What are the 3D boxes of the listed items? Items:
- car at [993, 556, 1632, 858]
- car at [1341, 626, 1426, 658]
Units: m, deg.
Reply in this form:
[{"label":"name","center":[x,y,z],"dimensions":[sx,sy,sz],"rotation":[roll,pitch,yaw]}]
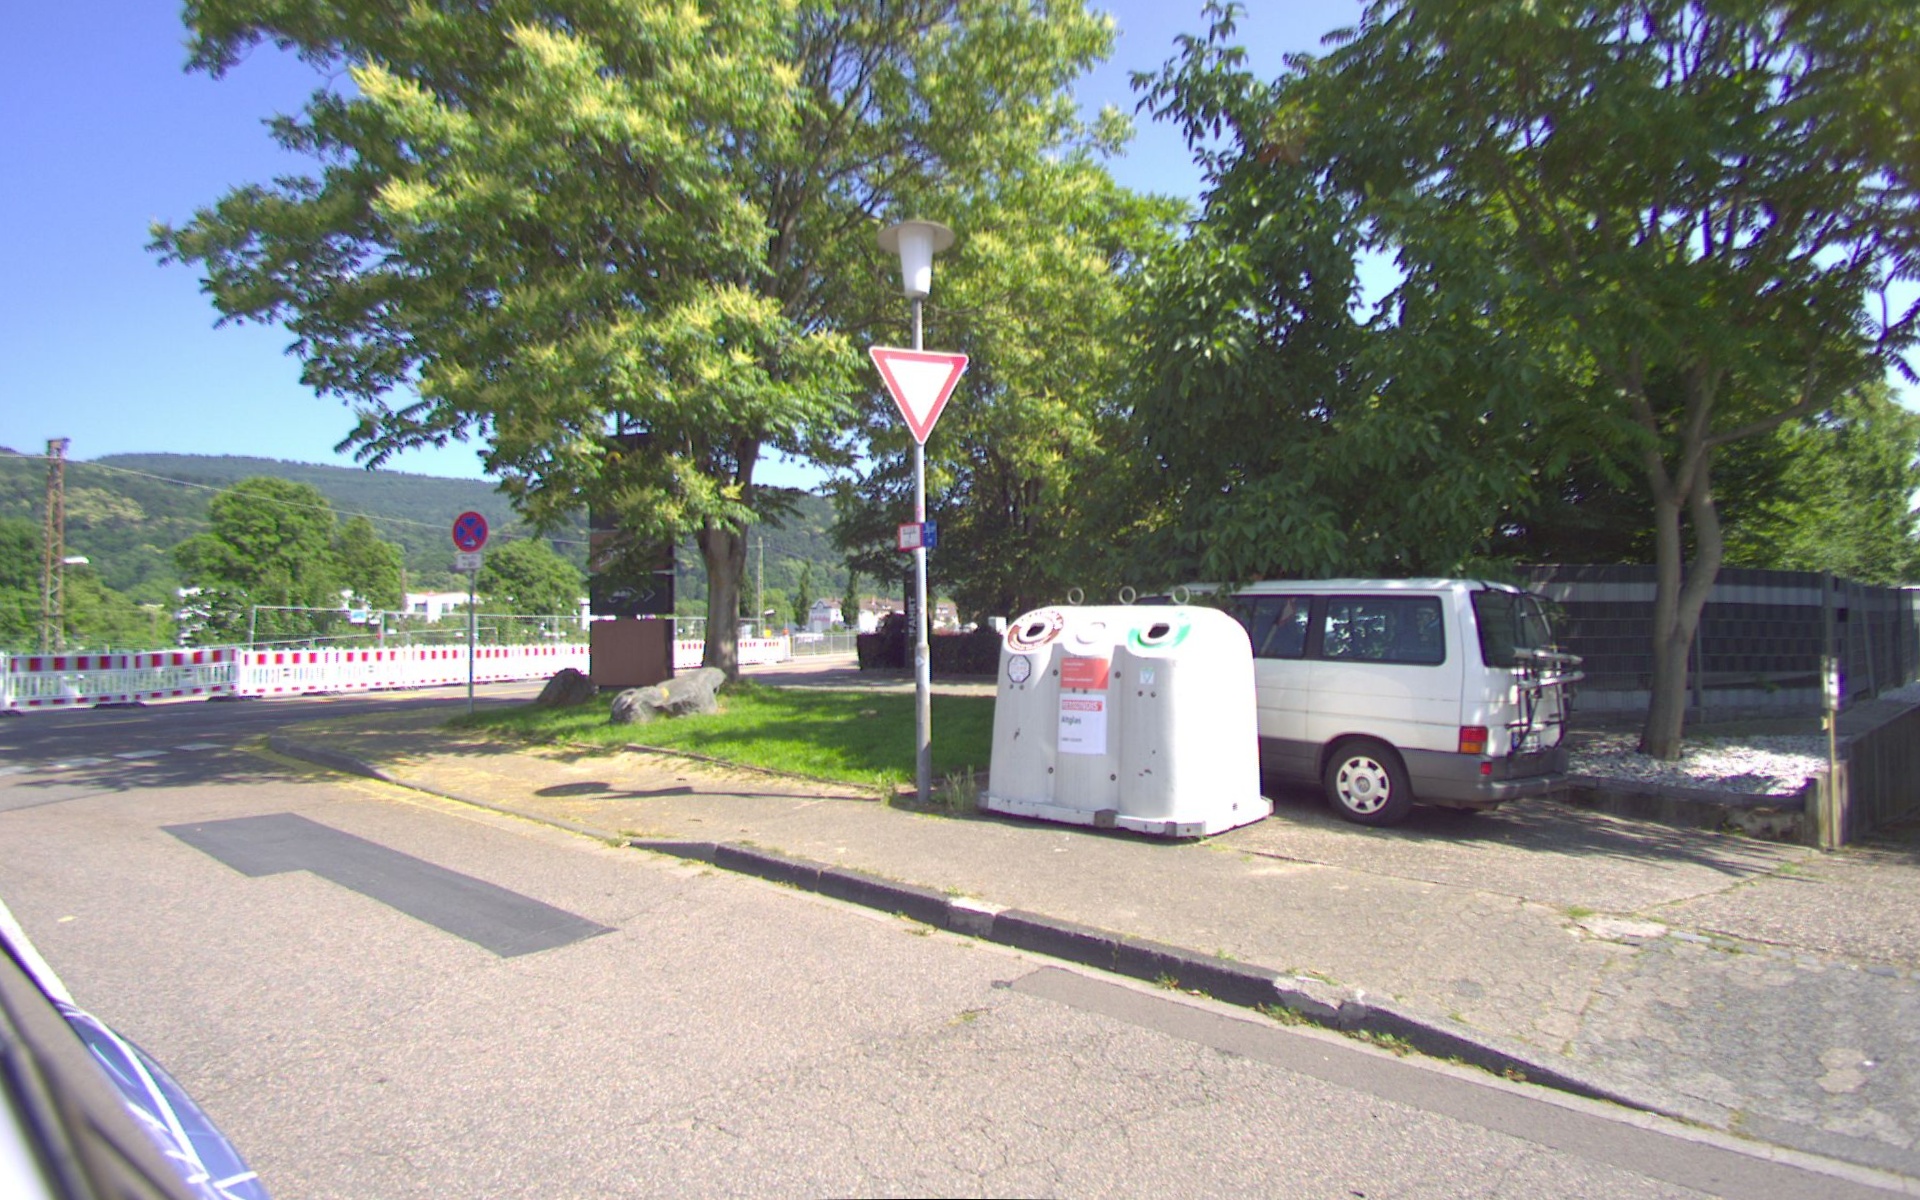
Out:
[{"label":"car","center":[2.792,0.748,9.127],"dimensions":[1.969,1.946,5.108],"rotation":[4,-3,-41]},{"label":"car","center":[20.847,2.062,49.964],"dimensions":[3.477,1.568,1.695],"rotation":[0,-2,6]}]
